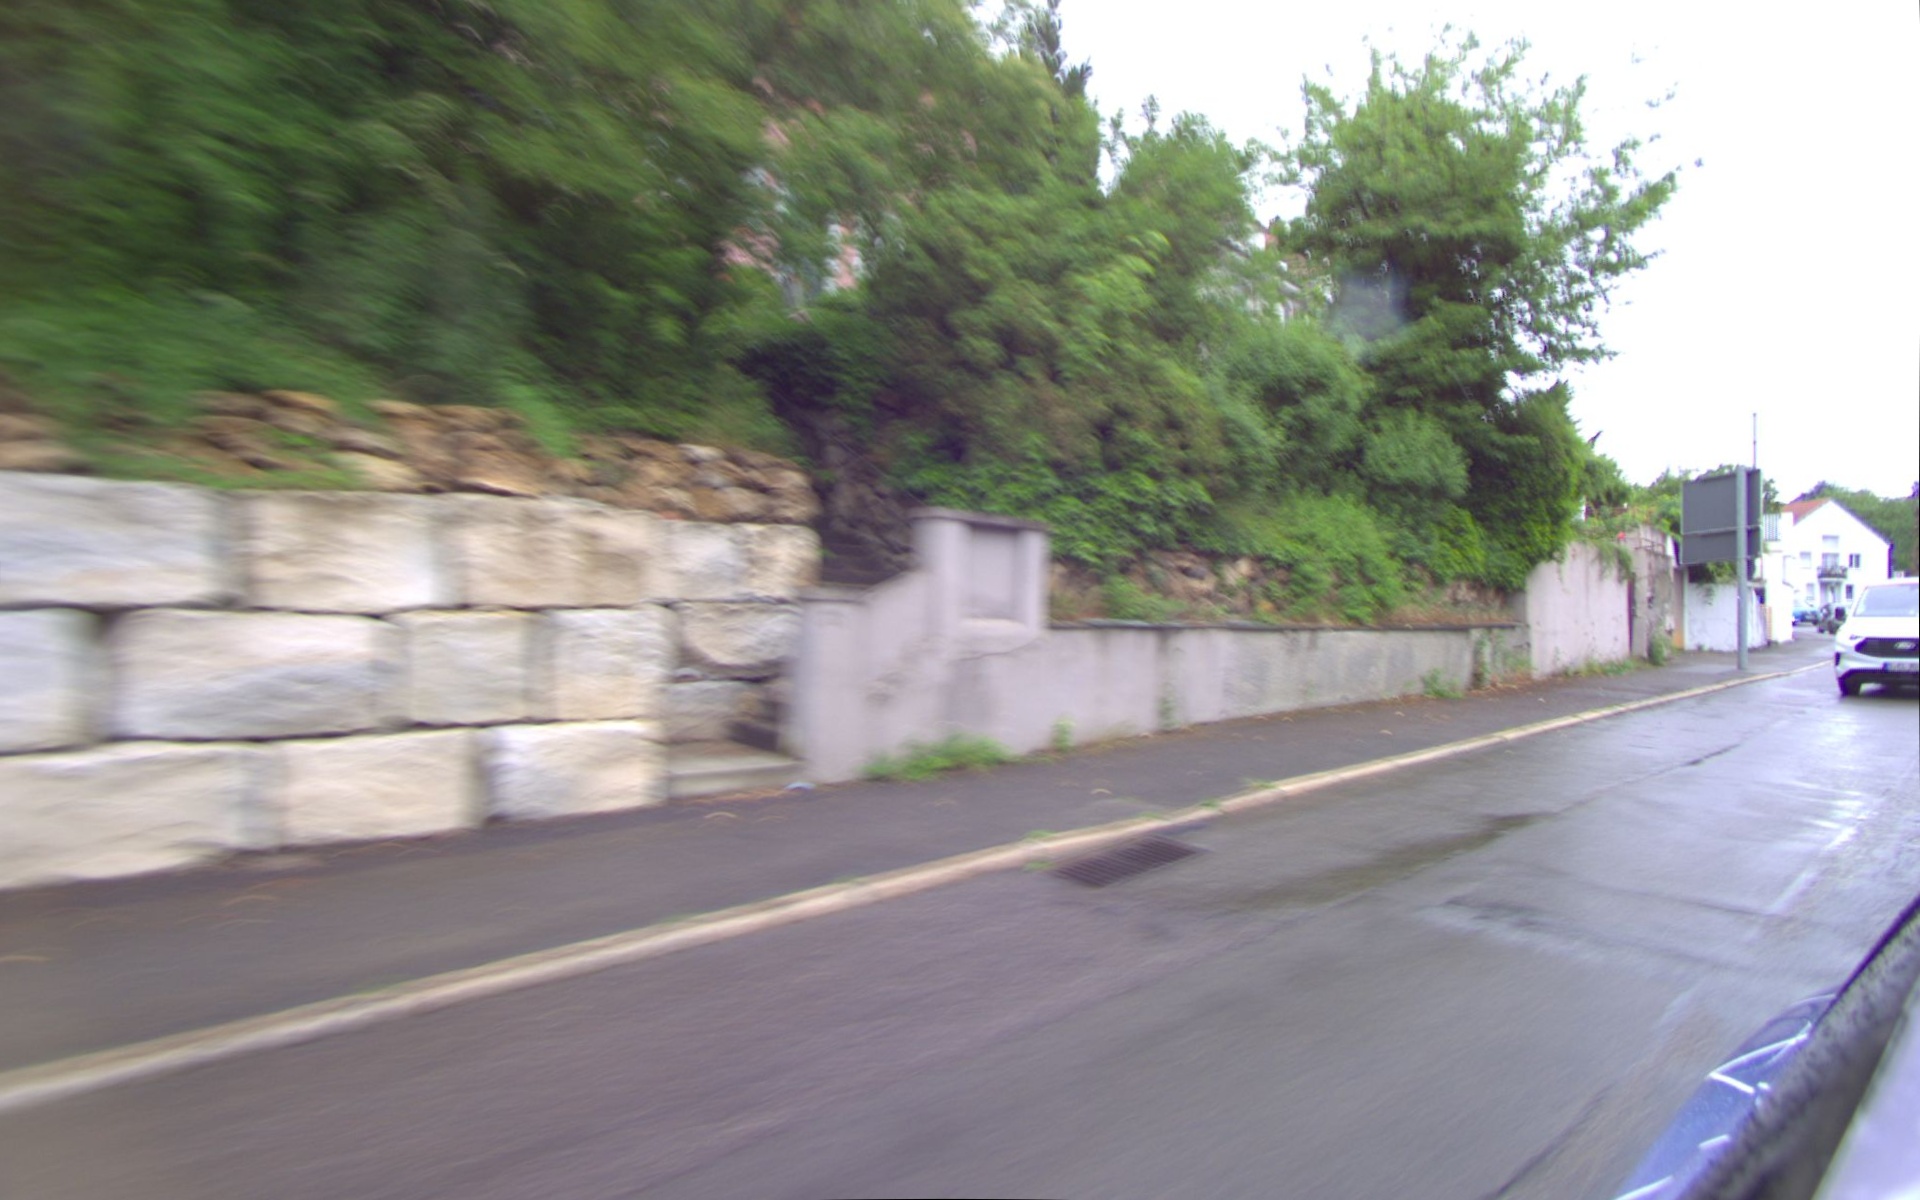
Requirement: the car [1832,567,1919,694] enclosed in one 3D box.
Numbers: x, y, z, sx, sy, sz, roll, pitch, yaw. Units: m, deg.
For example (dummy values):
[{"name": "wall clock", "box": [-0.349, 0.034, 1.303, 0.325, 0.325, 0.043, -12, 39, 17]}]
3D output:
[{"name": "car", "box": [16.677, 0.476, 17.059, 4.431, 1.964, 2.042, 0, -2, -37]}]
